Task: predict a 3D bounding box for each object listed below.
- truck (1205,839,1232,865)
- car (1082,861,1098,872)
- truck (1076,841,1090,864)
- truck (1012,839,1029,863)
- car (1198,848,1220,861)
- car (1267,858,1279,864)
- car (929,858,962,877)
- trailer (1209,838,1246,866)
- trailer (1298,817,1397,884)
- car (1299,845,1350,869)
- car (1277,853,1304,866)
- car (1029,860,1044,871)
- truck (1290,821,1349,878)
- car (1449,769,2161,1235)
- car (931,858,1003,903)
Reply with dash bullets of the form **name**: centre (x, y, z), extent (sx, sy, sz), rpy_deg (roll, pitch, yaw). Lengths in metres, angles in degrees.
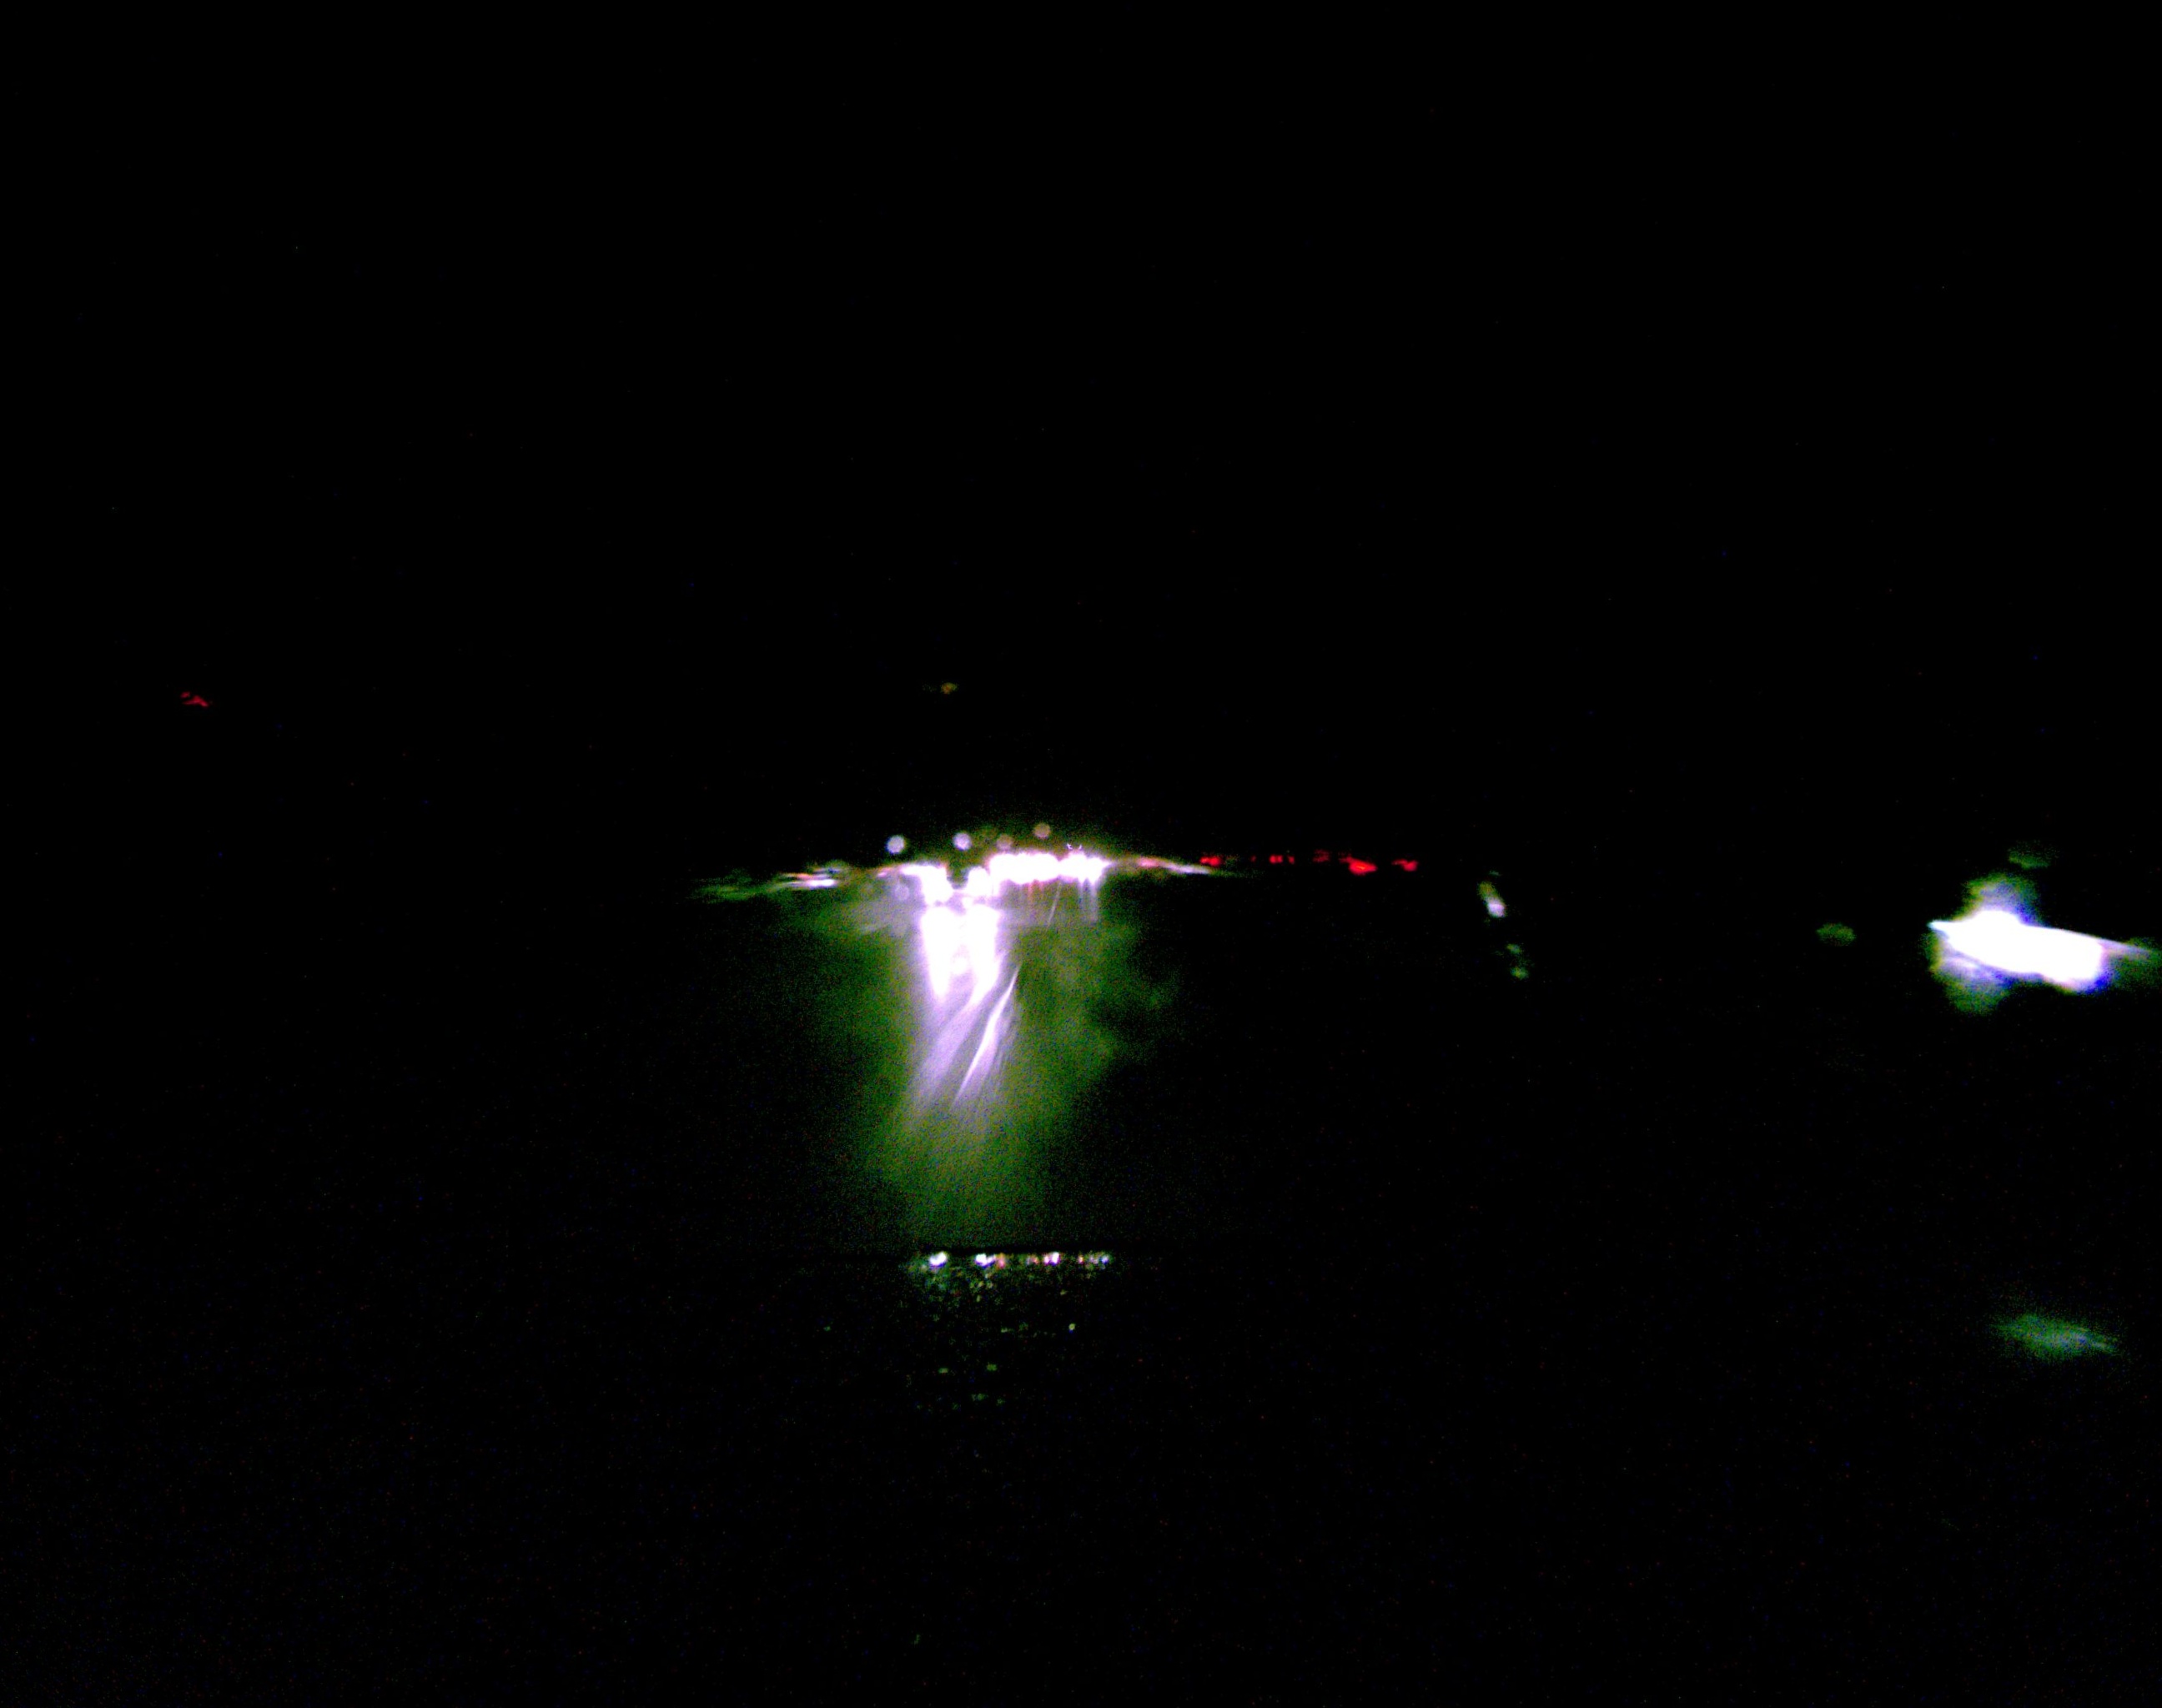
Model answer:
- **truck**: centre (20.559, -0.383, 113.757), extent (2.703, 3.738, 6.452), rpy_deg (1, 1, -1)
- **car**: centre (1.084, 1.478, 89.829), extent (1.712, 1.286, 3.991), rpy_deg (0, -2, -2)
- **truck**: centre (0.377, -0.284, 143.710), extent (2.504, 4.223, 5.980), rpy_deg (1, 1, -1)
- **truck**: centre (-11.051, -0.542, 138.401), extent (2.767, 4.198, 6.190), rpy_deg (1, 1, -6)
- **car**: centre (16.521, 0.099, 98.320), extent (1.999, 1.590, 4.592), rpy_deg (1, 1, -1)
- **car**: centre (40.140, 1.422, 158.867), extent (1.489, 1.277, 3.554), rpy_deg (-2, 0, 1)
- **car**: centre (-11.282, 1.103, 63.456), extent (1.723, 1.488, 4.045), rpy_deg (-3, -1, 5)
- **trailer**: centre (20.696, -0.301, 108.173), extent (2.703, 3.727, 12.017), rpy_deg (1, 1, -1)
- **trailer**: centre (21.493, -0.334, 62.681), extent (2.930, 4.821, 14.577), rpy_deg (1, 1, 0)
- **car**: centre (17.034, 0.192, 53.339), extent (1.999, 1.590, 4.592), rpy_deg (1, 1, -1)
- **car**: centre (26.106, 0.654, 94.952), extent (1.999, 1.590, 4.592), rpy_deg (1, 1, -1)
- **car**: centre (-5.426, 1.372, 92.351), extent (1.712, 1.286, 3.990), rpy_deg (1, -2, -6)
- **truck**: centre (21.470, -0.414, 68.880), extent (2.930, 4.822, 7.575), rpy_deg (1, 1, 0)
- **car**: centre (5.274, 0.539, 5.835), extent (2.142, 1.873, 5.554), rpy_deg (-1, 1, -1)
- **car**: centre (-4.341, 0.961, 29.724), extent (2.063, 1.510, 5.014), rpy_deg (-2, 0, -1)
